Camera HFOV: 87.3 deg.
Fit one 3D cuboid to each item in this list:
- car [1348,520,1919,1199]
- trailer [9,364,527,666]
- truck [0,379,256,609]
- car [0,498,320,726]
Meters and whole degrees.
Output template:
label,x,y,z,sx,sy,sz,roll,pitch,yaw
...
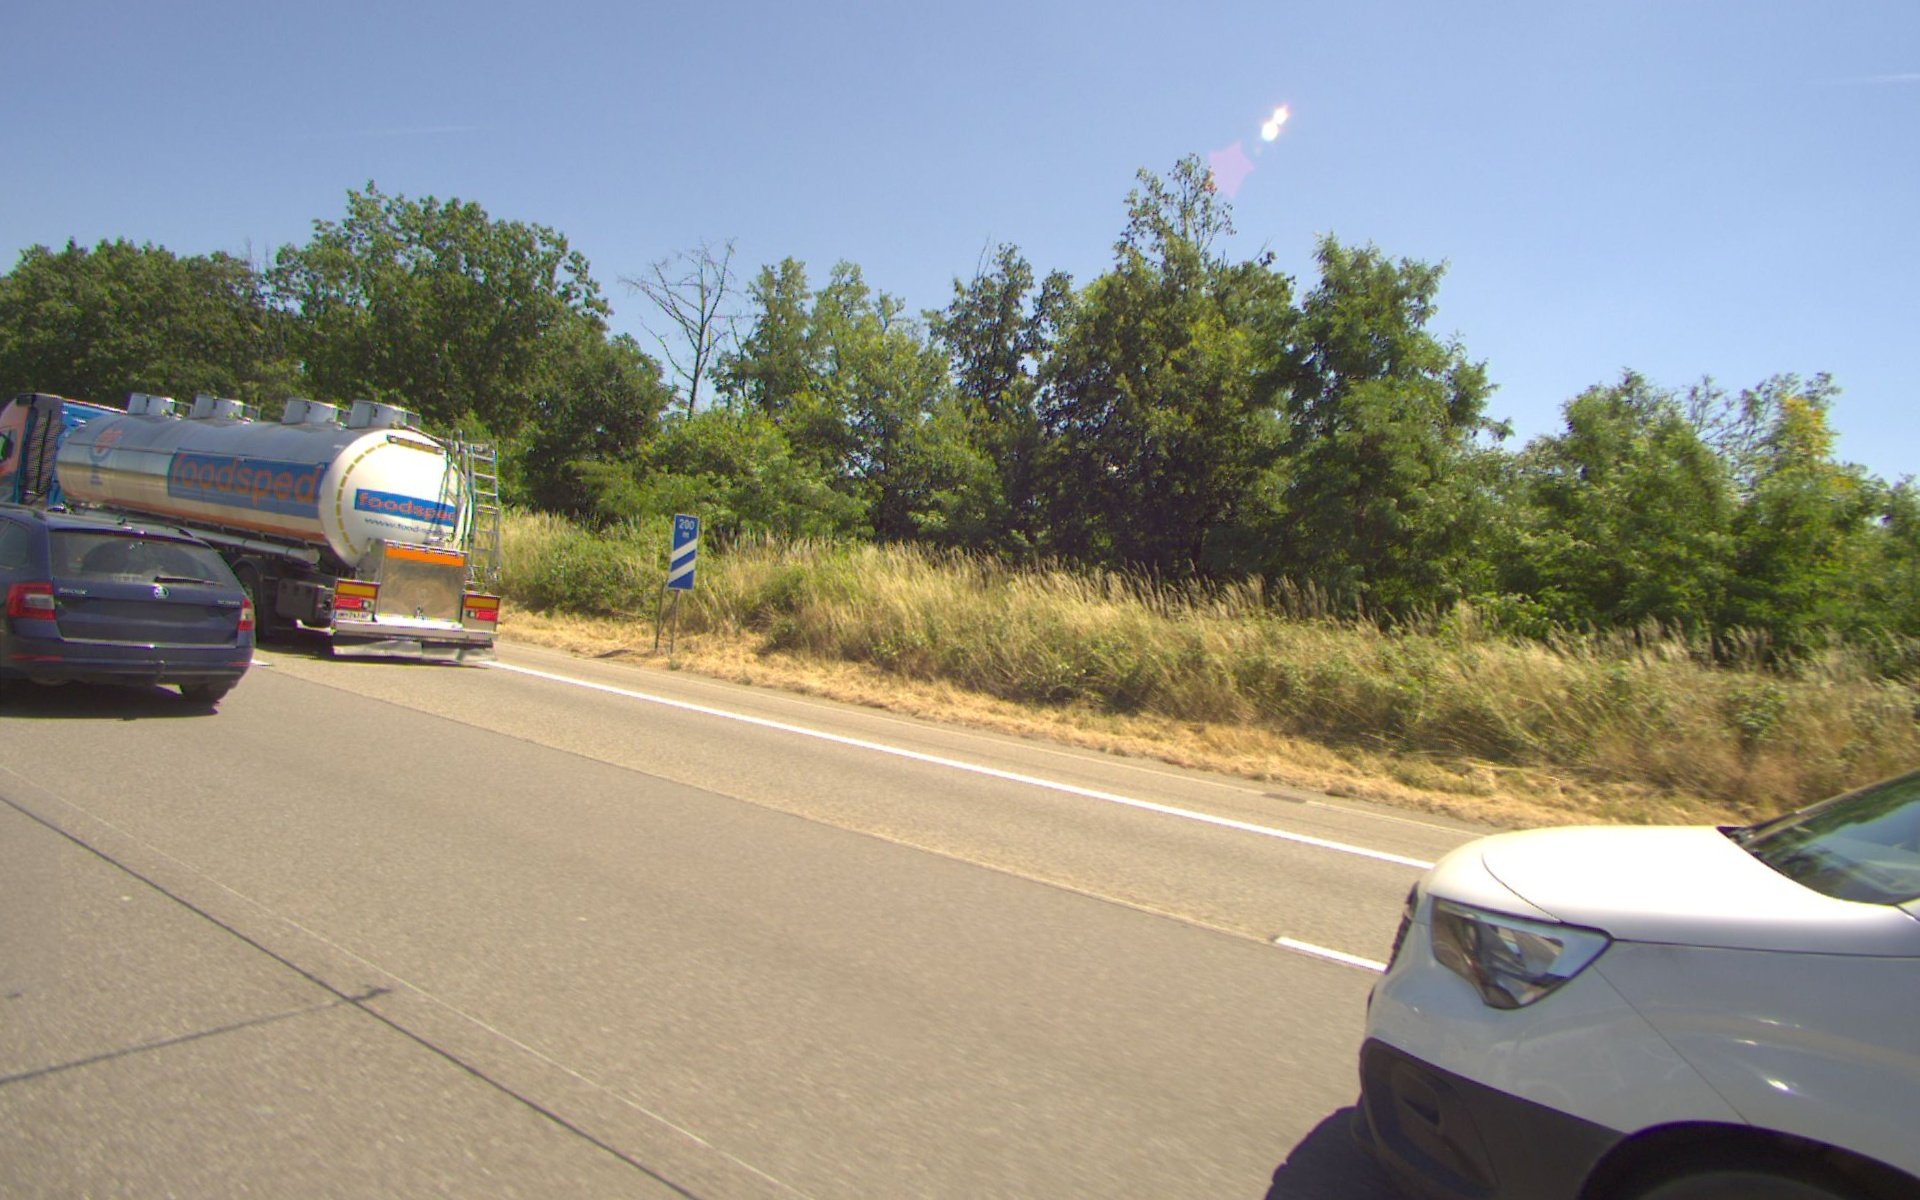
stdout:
label,x,y,z,sx,sy,sz,roll,pitch,yaw
car,3.493,1.053,1.844,4.858,1.838,1.870,6,-2,31
trailer,-12.153,-1.551,16.952,11.358,3.777,2.534,6,-1,32
truck,-17.101,-2.100,20.060,5.998,3.777,2.534,6,-1,32
car,-7.577,-0.016,8.561,4.200,1.500,1.805,6,-2,31
